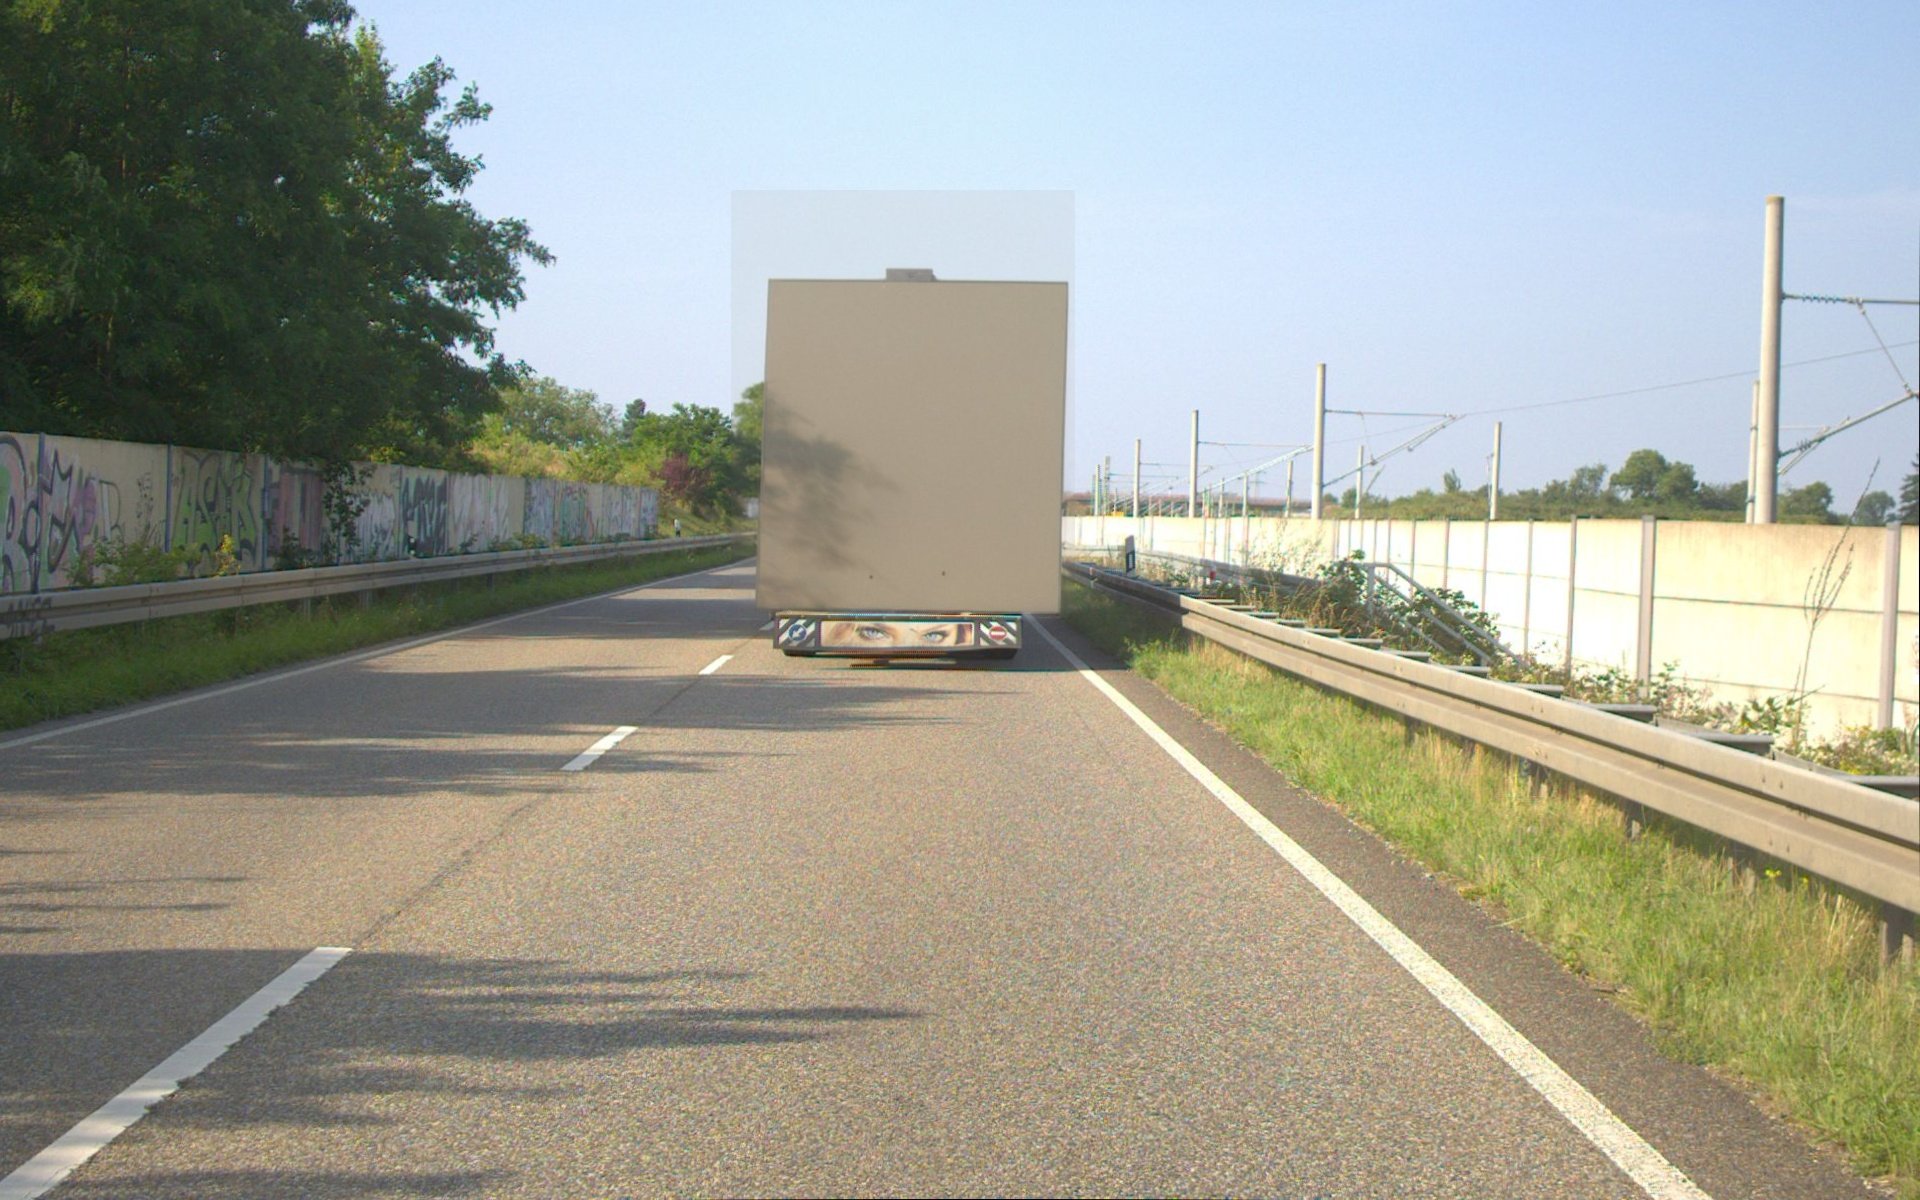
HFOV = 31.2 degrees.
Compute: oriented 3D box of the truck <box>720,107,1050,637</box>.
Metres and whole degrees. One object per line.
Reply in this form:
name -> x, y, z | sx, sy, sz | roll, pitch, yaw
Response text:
truck -> -0.822, -2.331, 37.930 | 3.033, 4.903, 11.686 | 1, 2, -1
